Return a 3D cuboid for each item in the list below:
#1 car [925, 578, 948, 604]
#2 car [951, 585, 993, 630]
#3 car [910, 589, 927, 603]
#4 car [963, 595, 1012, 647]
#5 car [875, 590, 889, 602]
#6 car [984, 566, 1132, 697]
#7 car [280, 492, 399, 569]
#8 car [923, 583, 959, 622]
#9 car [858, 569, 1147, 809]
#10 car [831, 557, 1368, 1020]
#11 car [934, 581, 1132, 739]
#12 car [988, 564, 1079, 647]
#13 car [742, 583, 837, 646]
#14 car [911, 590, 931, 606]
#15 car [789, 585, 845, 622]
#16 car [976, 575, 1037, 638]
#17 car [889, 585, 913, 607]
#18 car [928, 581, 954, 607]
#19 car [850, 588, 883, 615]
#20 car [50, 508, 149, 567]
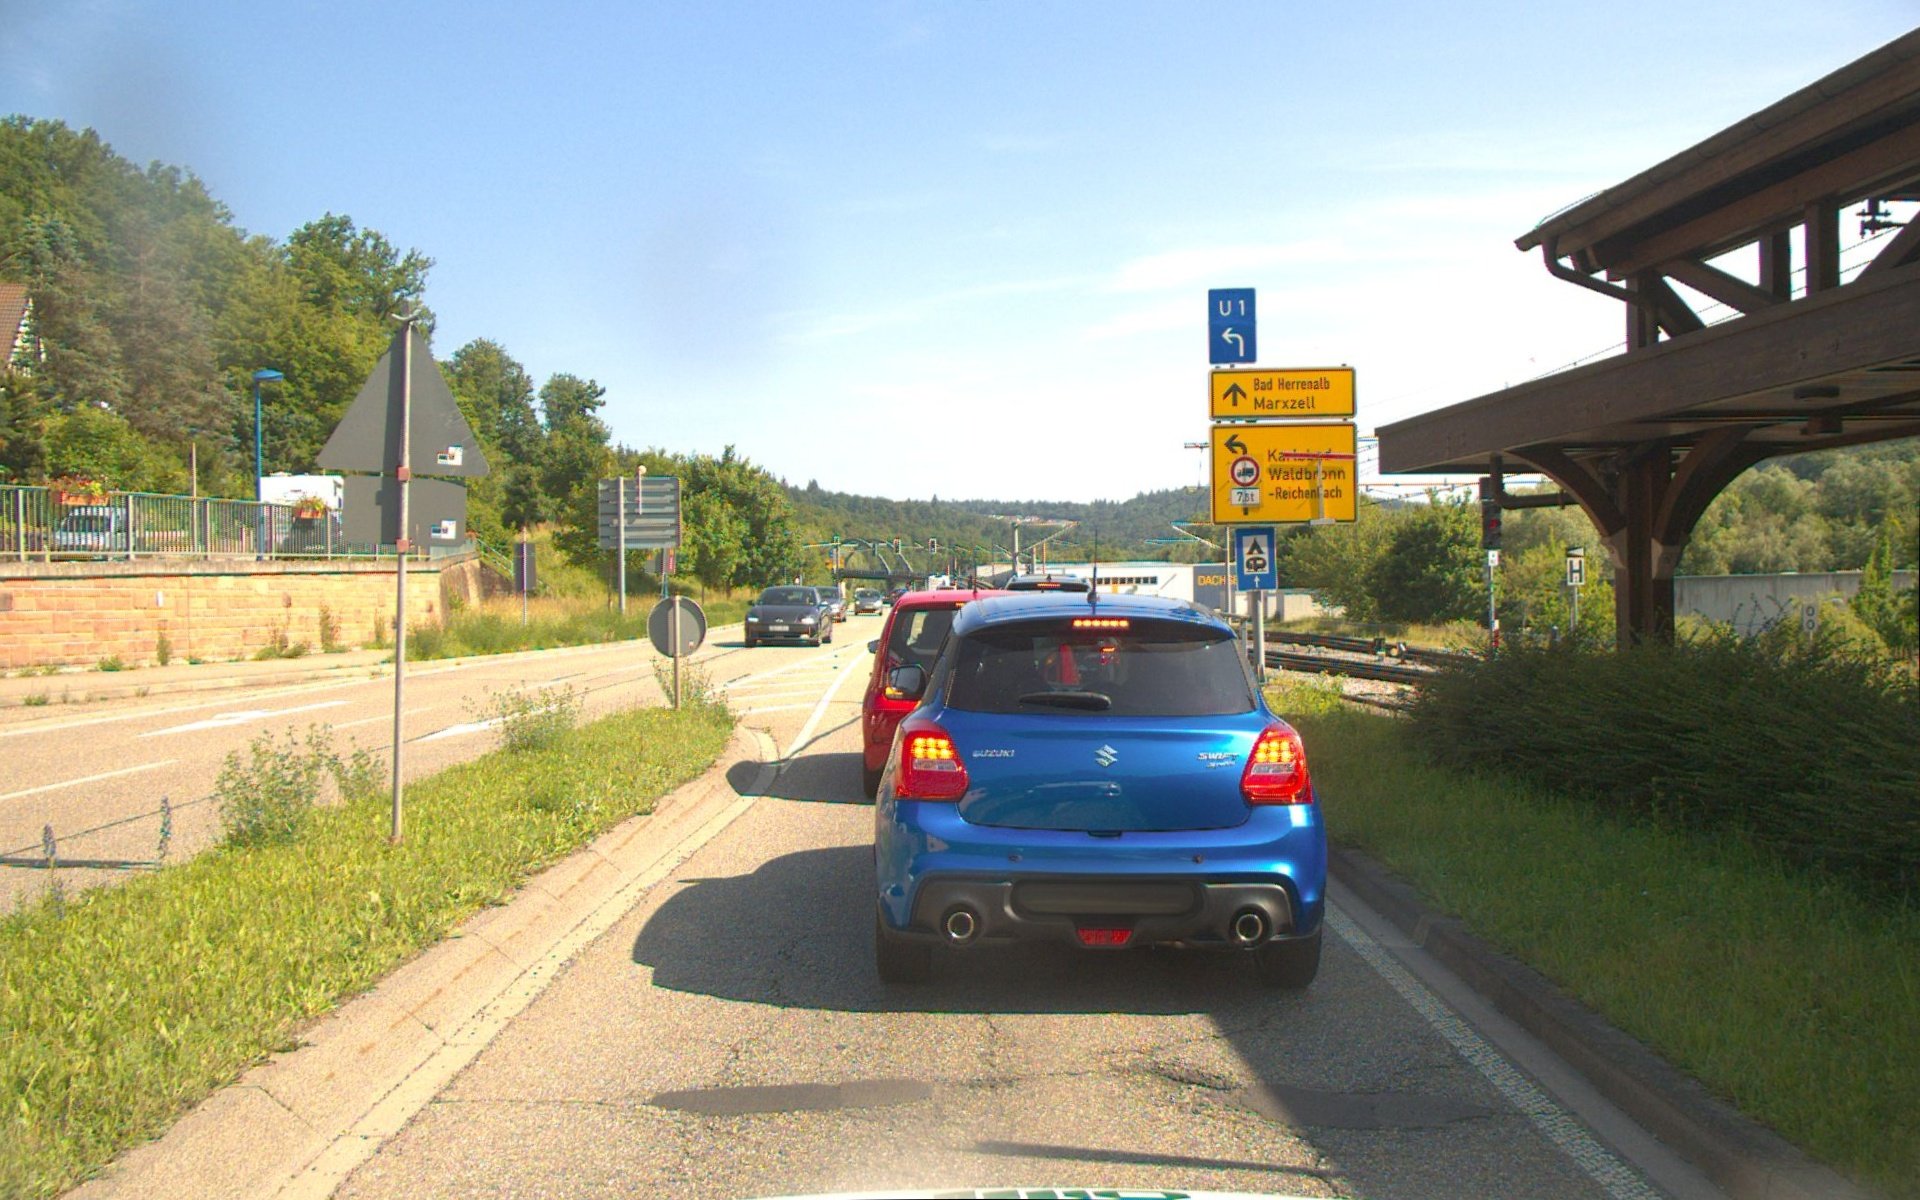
[{"bbox_3d":[-2.057,-0.779,143.955,1.953,2.181,4.719,1,0,-1],"label":"car"},{"bbox_3d":[0.552,0.332,82.349,1.953,2.048,4.000,2,1,-1],"label":"car"},{"bbox_3d":[-4.919,-0.480,195.854,1.953,1.619,3.999,2,0,-1],"label":"car"},{"bbox_3d":[1.159,0.899,71.993,1.953,2.048,4.000,2,1,-1],"label":"car"},{"bbox_3d":[-11.951,-0.614,253.349,1.953,1.693,3.999,2,0,-1],"label":"car"},{"bbox_3d":[1.373,0.407,24.712,1.952,1.716,4.498,2,1,1],"label":"car"},{"bbox_3d":[-17.198,-1.908,46.079,1.982,1.953,4.724,2,1,-7],"label":"car"},{"bbox_3d":[-1.068,0.124,94.859,1.953,2.048,4.000,2,1,-1],"label":"car"},{"bbox_3d":[0.326,0.606,13.347,1.952,1.598,4.000,1,0,1],"label":"car"},{"bbox_3d":[0.441,0.634,7.679,1.830,1.575,3.999,1,0,-1],"label":"car"},{"bbox_3d":[0.762,0.571,18.620,1.952,1.558,4.602,0,1,1],"label":"car"},{"bbox_3d":[1.657,0.107,38.673,1.952,1.766,4.001,2,1,1],"label":"car"},{"bbox_3d":[-4.272,0.333,42.030,1.754,1.496,4.717,1,0,2],"label":"car"},{"bbox_3d":[-3.904,-0.221,166.428,1.953,1.581,4.214,2,0,-1],"label":"car"},{"bbox_3d":[-6.304,0.130,73.421,1.952,1.591,4.510,1,1,1],"label":"car"},{"bbox_3d":[1.635,0.198,59.042,1.953,2.048,4.000,2,1,-1],"label":"car"},{"bbox_3d":[-4.995,-0.336,140.785,1.953,1.814,3.999,1,0,-1],"label":"car"},{"bbox_3d":[-1.491,-0.460,129.341,1.953,1.848,4.000,2,1,-1],"label":"car"},{"bbox_3d":[-5.410,0.080,96.209,1.637,1.466,3.840,1,0,1],"label":"car"},{"bbox_3d":[-25.693,-1.827,49.525,1.864,1.658,3.982,0,1,-16],"label":"car"}]
